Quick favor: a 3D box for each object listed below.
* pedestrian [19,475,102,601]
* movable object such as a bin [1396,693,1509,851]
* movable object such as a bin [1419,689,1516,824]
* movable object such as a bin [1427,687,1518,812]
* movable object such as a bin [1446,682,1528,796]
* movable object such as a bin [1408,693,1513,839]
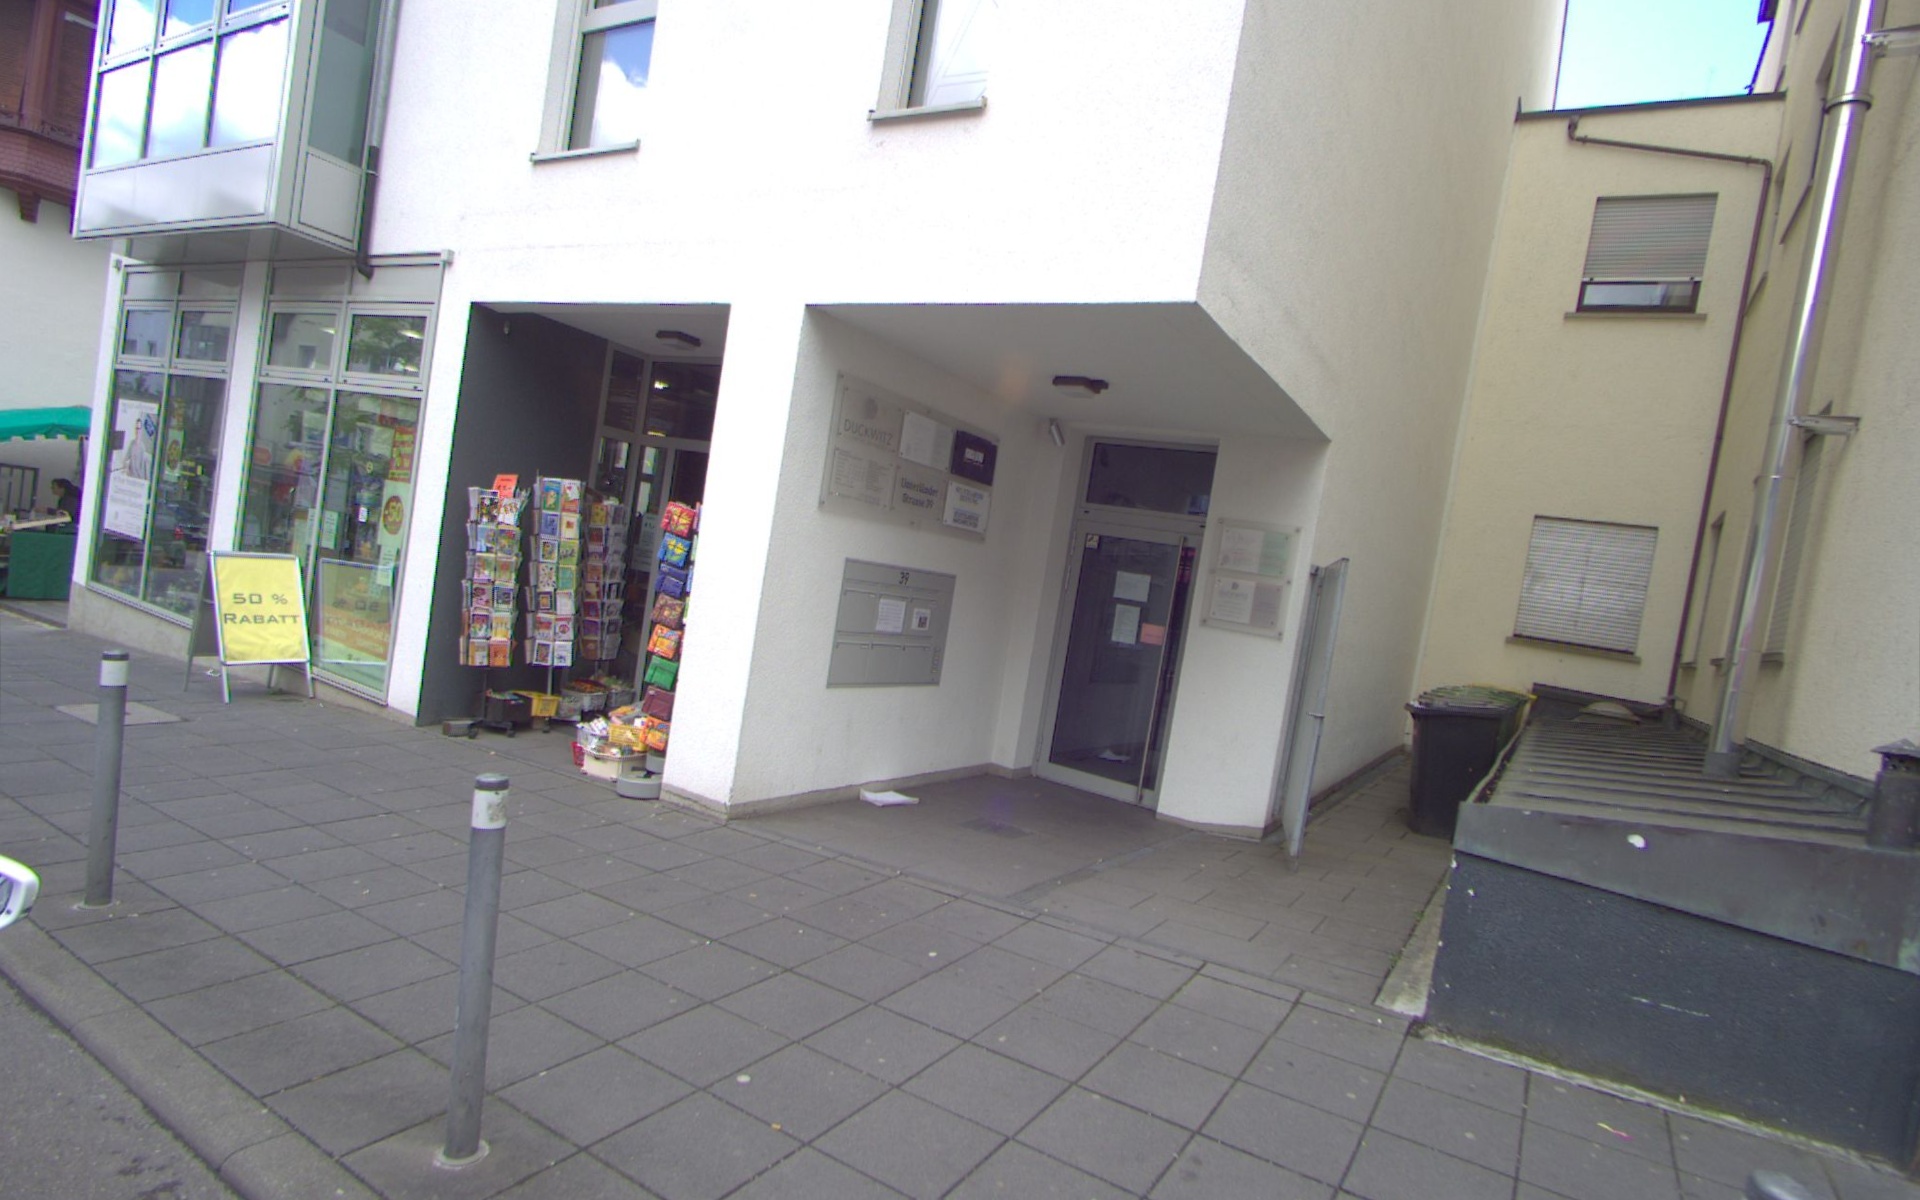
[{"bbox_3d":[-12.435,-0.859,13.911,0.692,1.633,0.623,7,1,36],"label":"pedestrian"},{"bbox_3d":[3.885,1.317,7.917,0.643,1.072,0.722,7,1,30],"label":"movable object such as a bin"},{"bbox_3d":[4.652,1.404,9.210,0.643,1.072,0.746,7,1,30],"label":"movable object such as a bin"},{"bbox_3d":[5.031,1.436,9.864,0.643,1.072,0.746,7,1,30],"label":"movable object such as a bin"},{"bbox_3d":[5.654,1.464,10.778,0.643,1.072,0.746,7,1,30],"label":"movable object such as a bin"},{"bbox_3d":[4.264,1.378,8.561,0.643,1.072,0.746,7,1,30],"label":"movable object such as a bin"}]
